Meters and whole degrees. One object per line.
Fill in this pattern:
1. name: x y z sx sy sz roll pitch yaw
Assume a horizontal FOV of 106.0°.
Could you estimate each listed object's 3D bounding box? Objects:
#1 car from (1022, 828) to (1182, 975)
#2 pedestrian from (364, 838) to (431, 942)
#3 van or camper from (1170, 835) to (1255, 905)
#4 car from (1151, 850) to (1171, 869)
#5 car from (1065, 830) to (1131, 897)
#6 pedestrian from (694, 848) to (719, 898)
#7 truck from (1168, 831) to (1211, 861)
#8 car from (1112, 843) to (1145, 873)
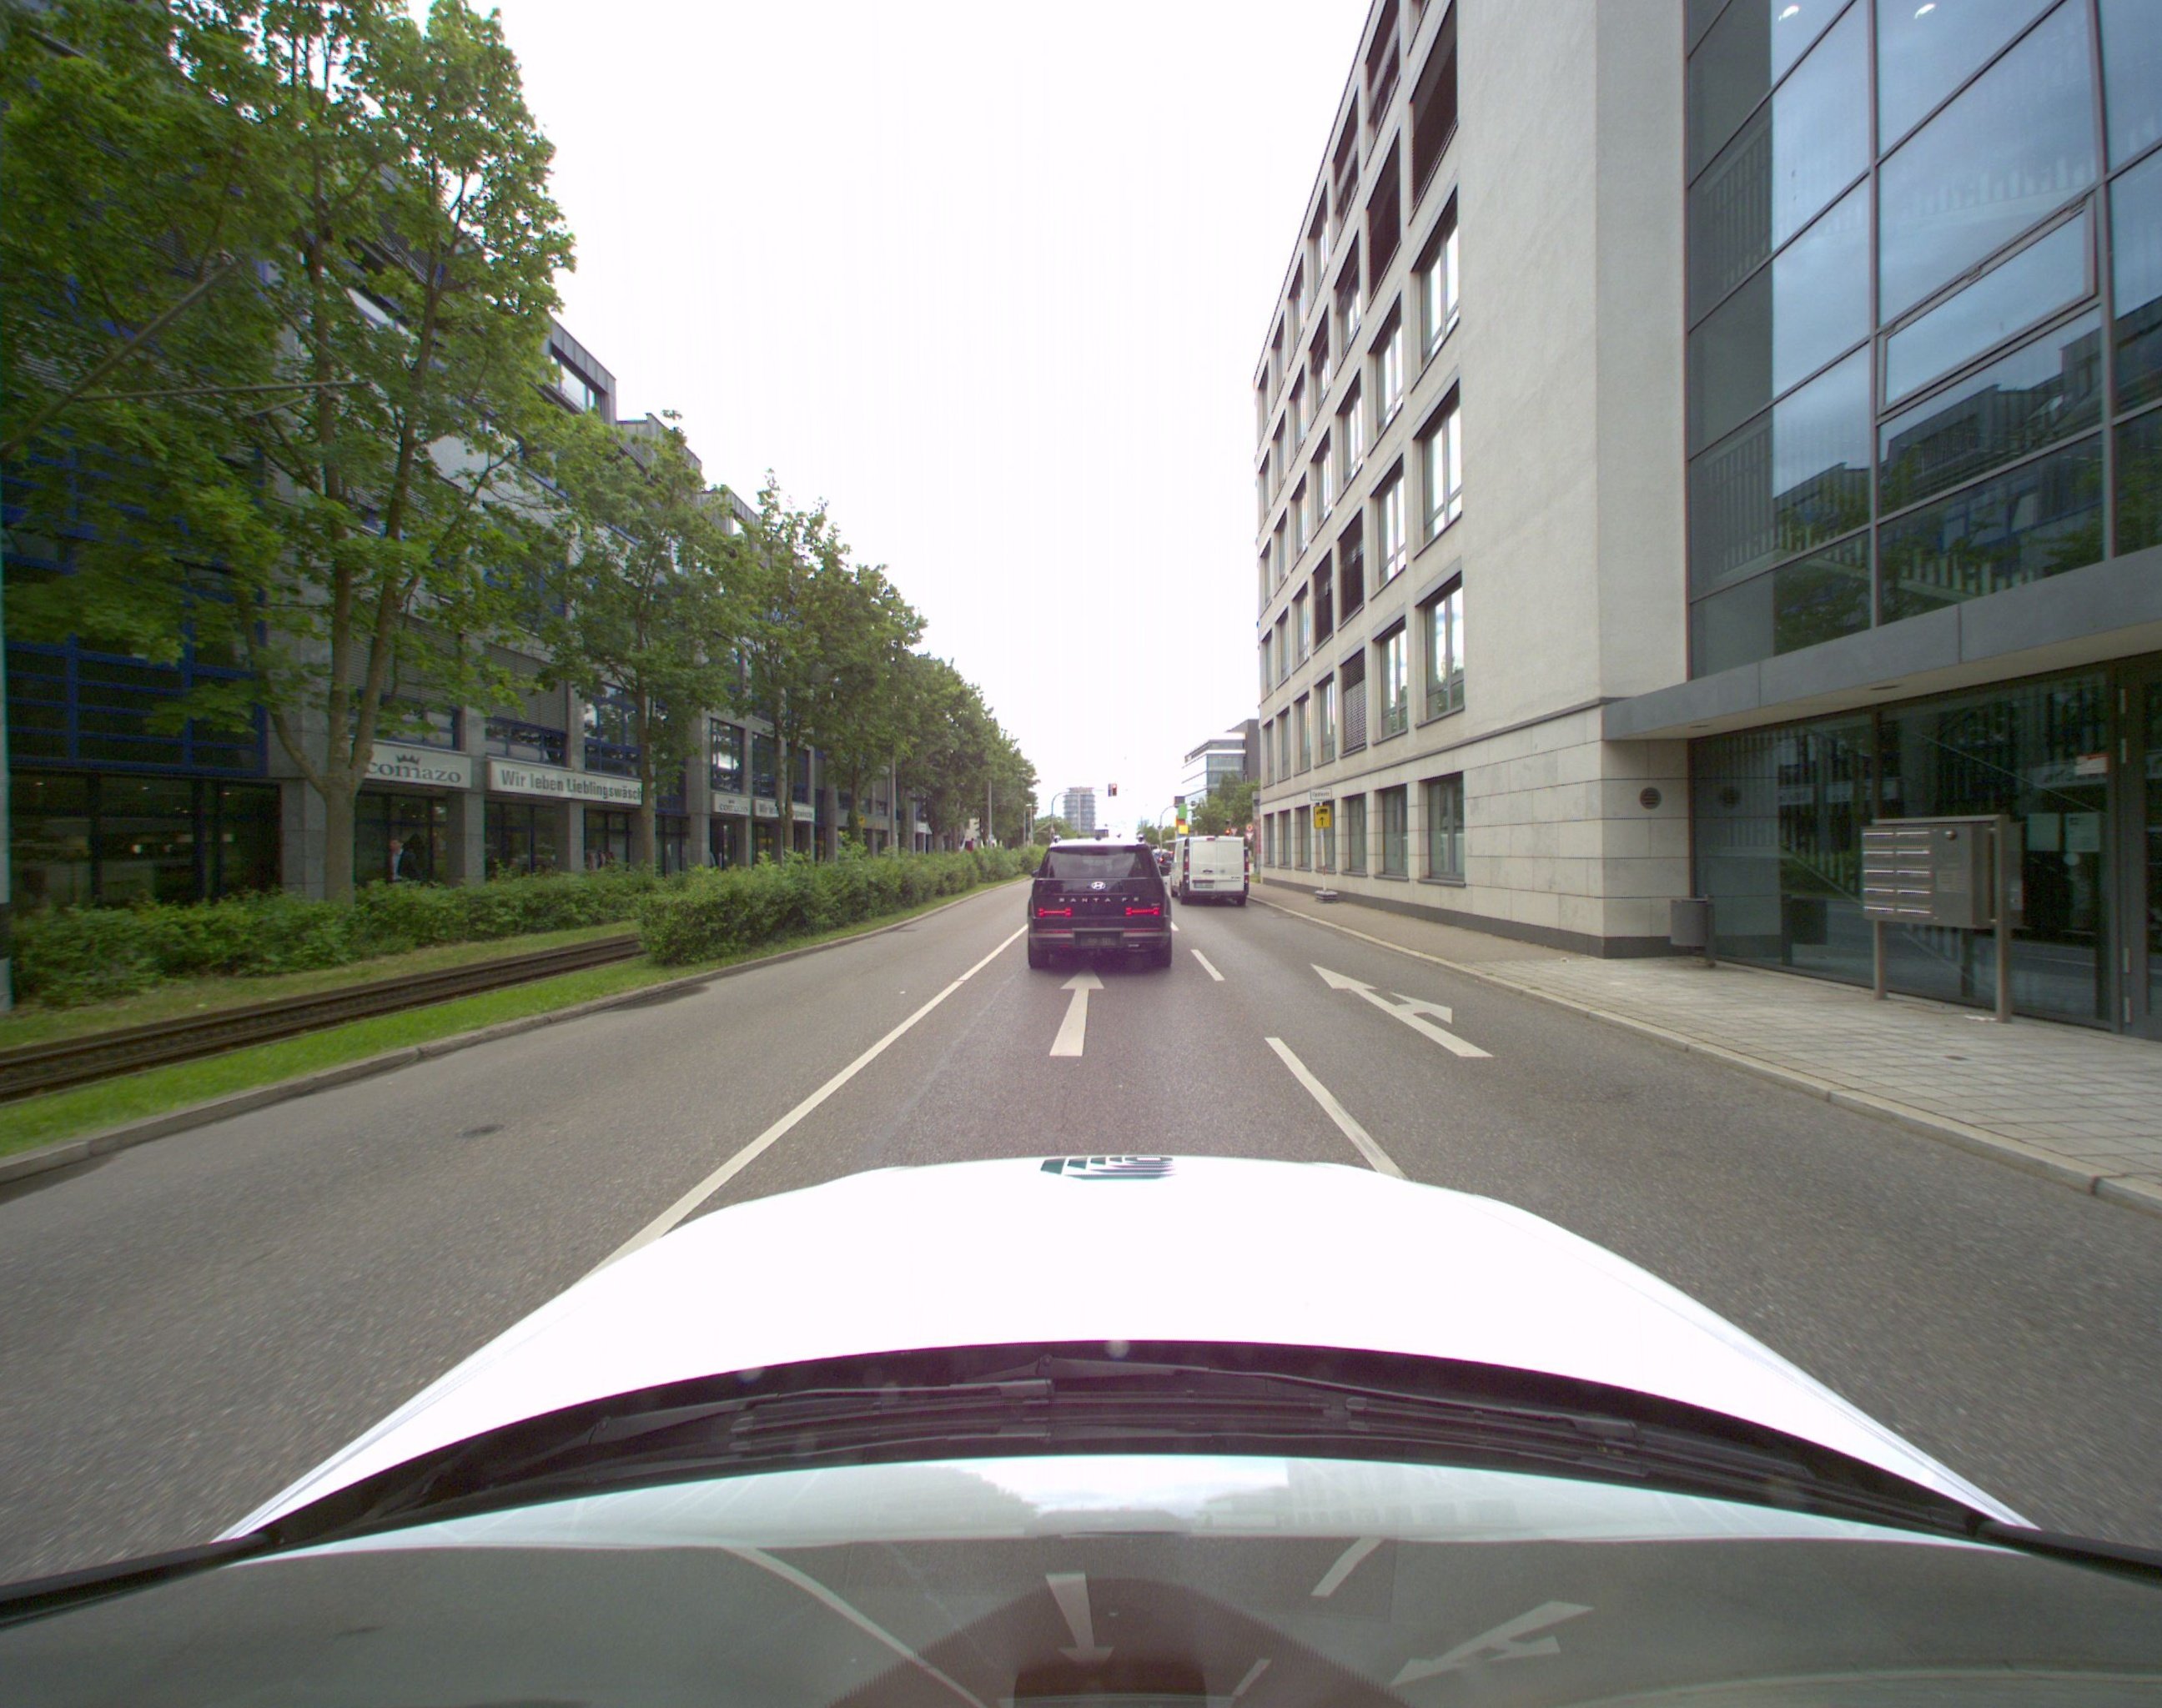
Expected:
1. car: 0.216 0.573 12.020 1.903 1.749 4.394 -1 0 -1
2. pedestrian: -12.937 0.672 15.418 0.672 1.908 0.622 -2 0 2
3. van or camper: 3.814 0.425 24.308 1.986 1.915 4.334 0 0 2
4. car: 7.138 0.445 72.764 1.751 1.609 4.194 -1 0 5
5. car: 0.476 0.282 27.102 1.926 1.994 4.532 -1 0 -2
6. pedestrian: -15.219 0.767 33.073 0.678 2.013 0.571 -2 0 1
7. truck: 10.188 -0.723 77.245 2.330 2.748 6.469 -2 0 -8
8. car: 2.981 0.245 51.613 1.986 1.790 4.002 -1 0 2
